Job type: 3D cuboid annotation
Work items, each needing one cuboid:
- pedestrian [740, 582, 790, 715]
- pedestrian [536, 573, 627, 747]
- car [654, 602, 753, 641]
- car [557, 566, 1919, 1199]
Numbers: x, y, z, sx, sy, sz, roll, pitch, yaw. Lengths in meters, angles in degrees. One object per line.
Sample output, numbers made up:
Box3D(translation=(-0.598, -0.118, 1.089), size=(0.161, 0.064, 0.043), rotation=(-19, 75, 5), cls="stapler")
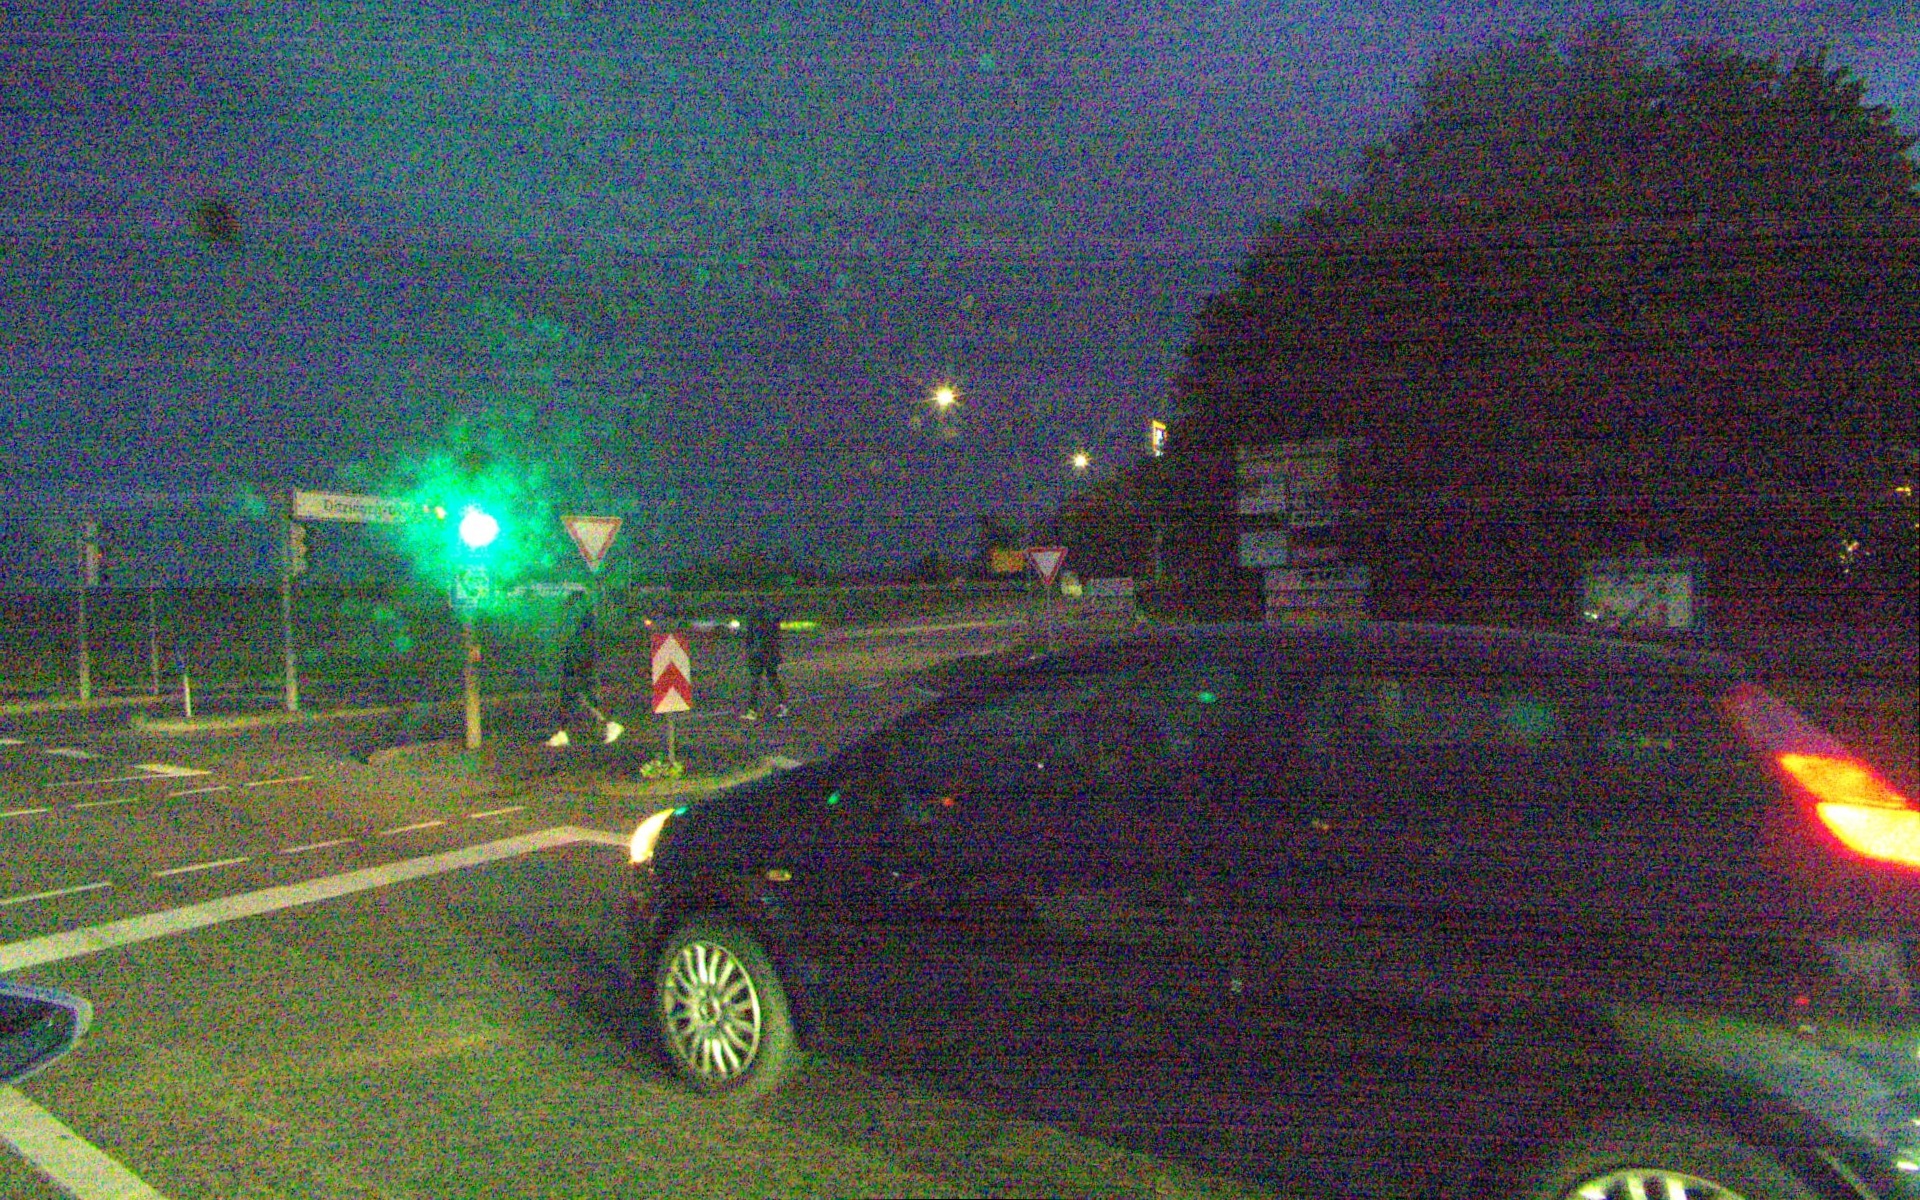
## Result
Box3D(translation=(-3.060, 0.757, 15.771), size=(0.700, 2.039, 0.781), rotation=(0, -1, -6), cls="pedestrian")
Box3D(translation=(-4.627, 0.727, 12.267), size=(0.704, 2.039, 0.776), rotation=(-1, -2, 33), cls="pedestrian")
Box3D(translation=(-12.067, 0.996, 47.296), size=(4.396, 1.686, 1.997), rotation=(-1, 0, -14), cls="car")
Box3D(translation=(0.560, 0.763, 3.195), size=(3.663, 1.557, 1.655), rotation=(-1, -1, 33), cls="car")
